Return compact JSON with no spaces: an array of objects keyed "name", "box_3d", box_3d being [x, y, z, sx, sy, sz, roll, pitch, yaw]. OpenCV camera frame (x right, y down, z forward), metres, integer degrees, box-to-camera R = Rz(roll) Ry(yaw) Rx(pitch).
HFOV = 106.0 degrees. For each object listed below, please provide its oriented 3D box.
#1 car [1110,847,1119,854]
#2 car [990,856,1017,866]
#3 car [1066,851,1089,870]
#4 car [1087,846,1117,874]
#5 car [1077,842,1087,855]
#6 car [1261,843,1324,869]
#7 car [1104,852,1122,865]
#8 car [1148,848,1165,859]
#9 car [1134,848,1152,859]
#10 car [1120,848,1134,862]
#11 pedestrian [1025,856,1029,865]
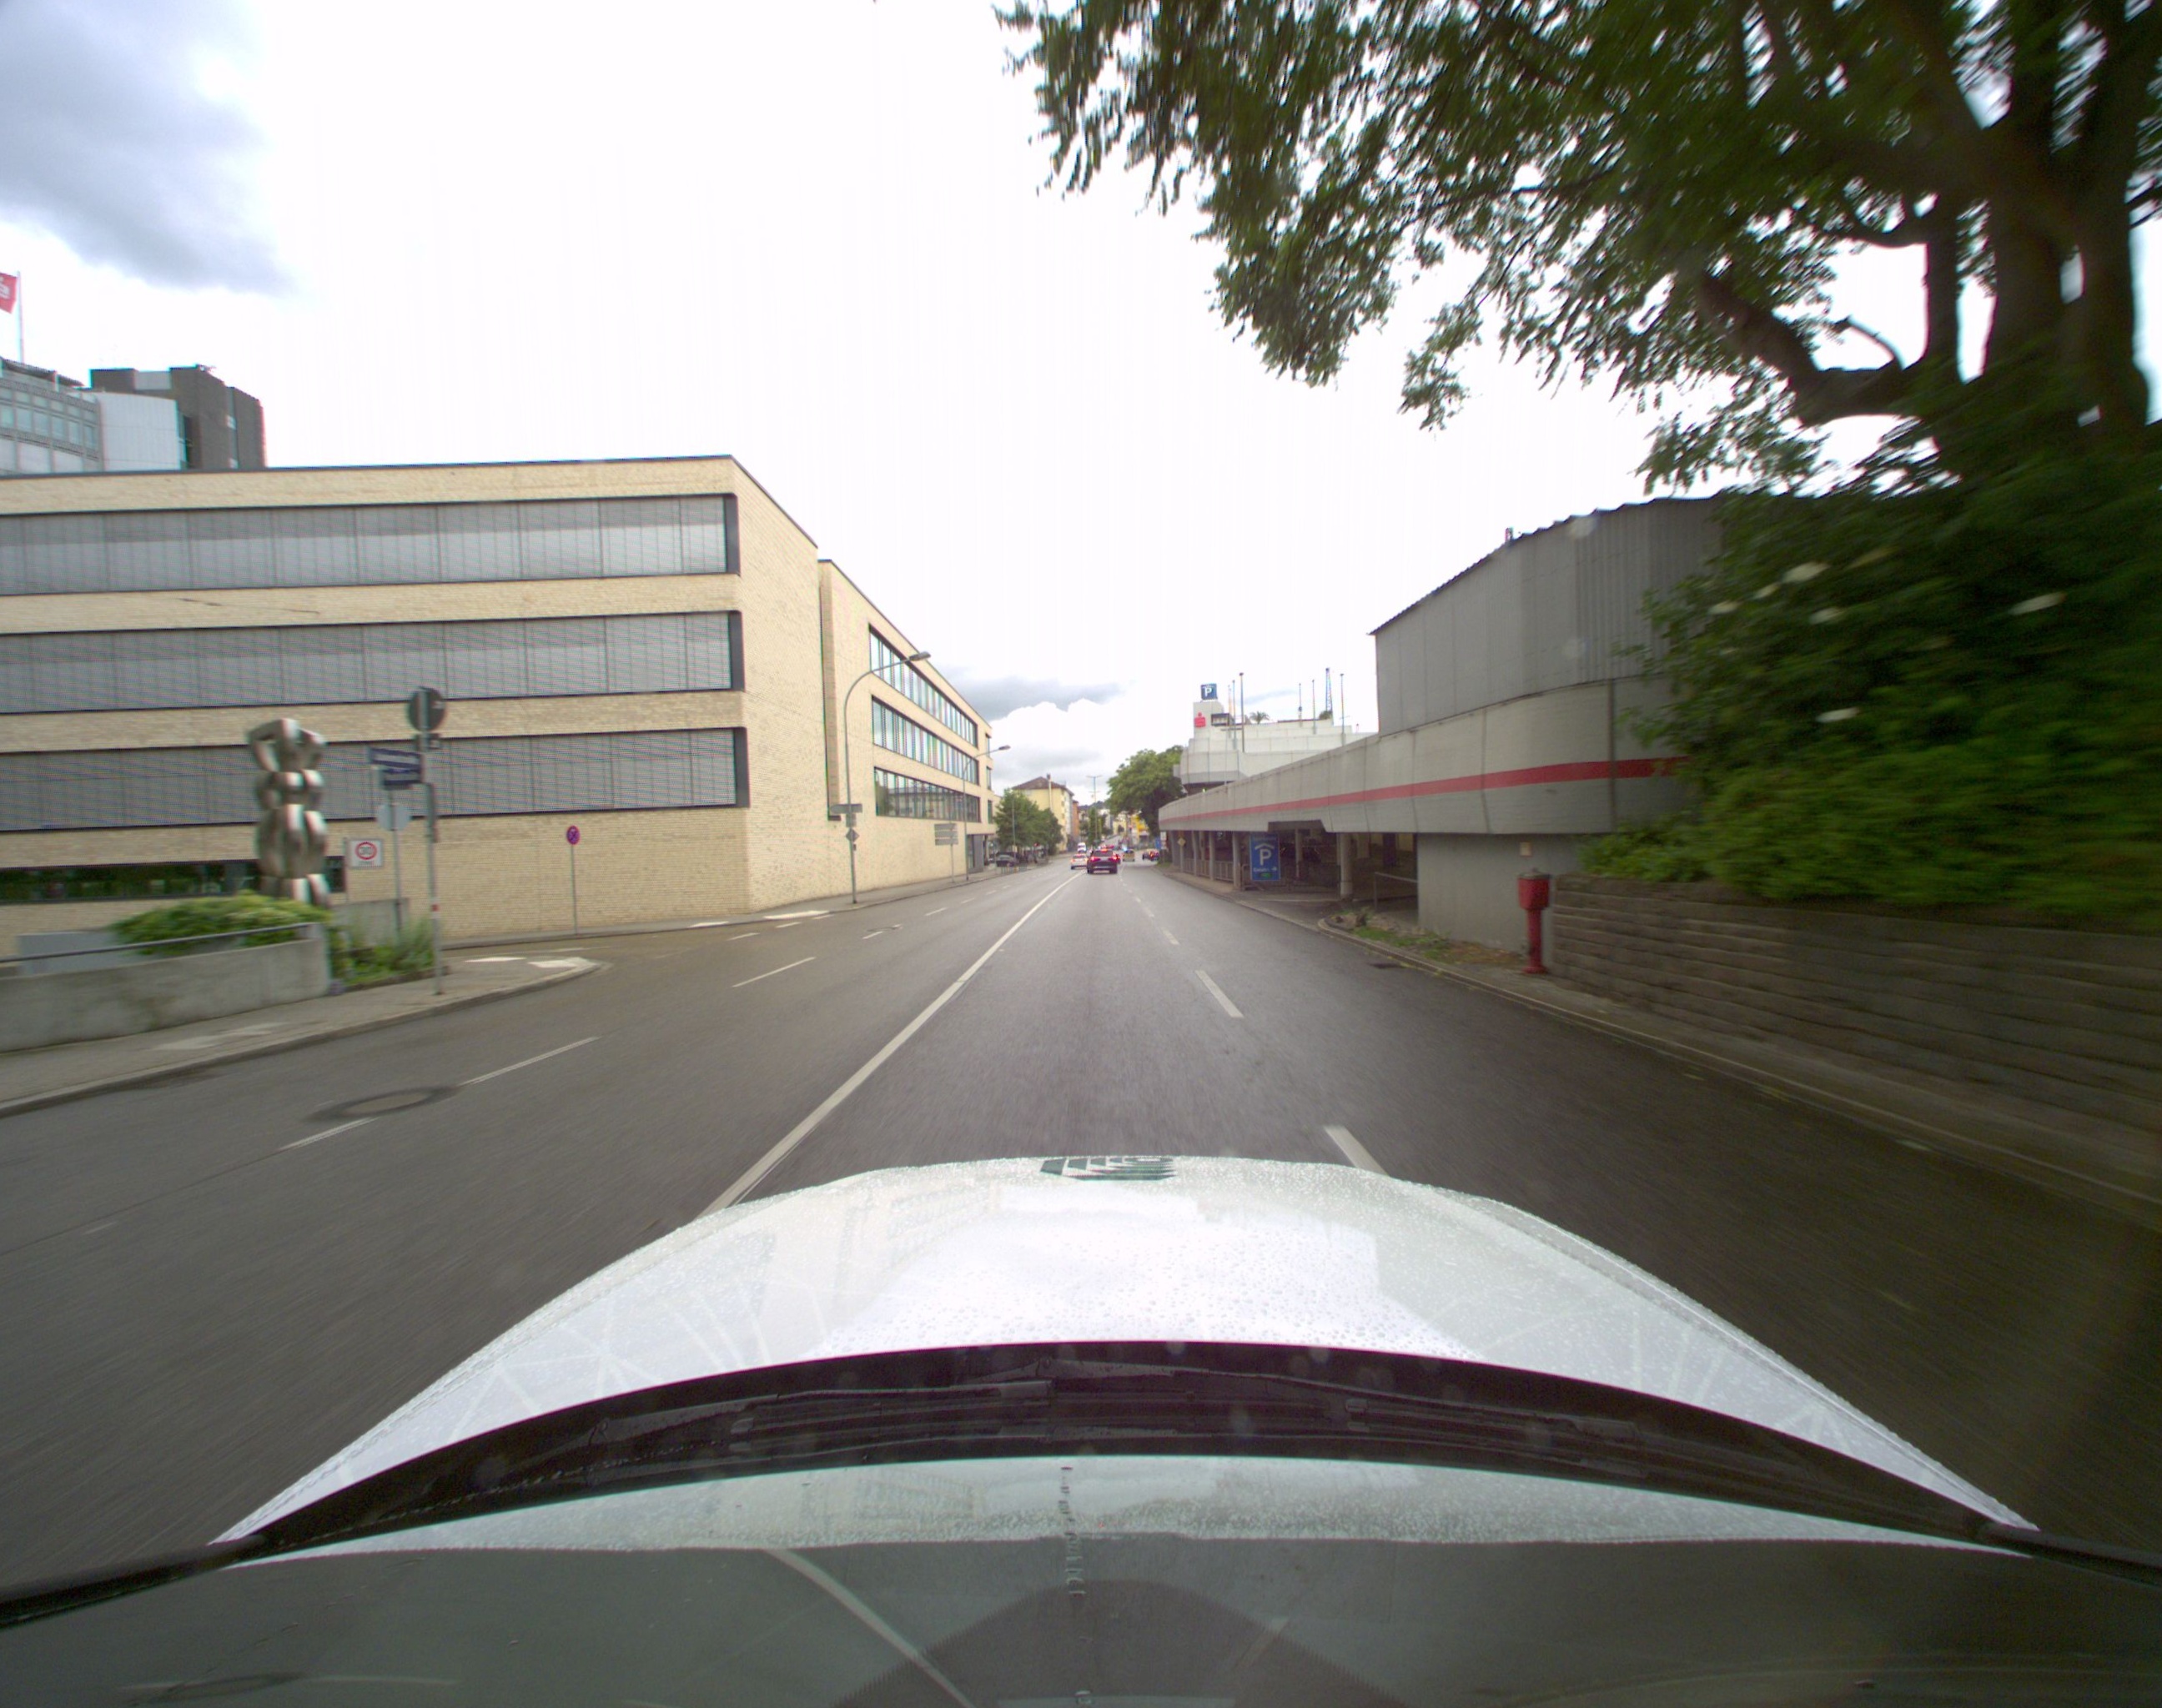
[{"name":"car","box_3d":[9.012,-1.023,220.013,1.988,1.679,3.998,-2,1,-1]},{"name":"car","box_3d":[-10.488,0.883,110.286,3.648,1.235,1.439,-2,0,-5]},{"name":"car","box_3d":[-0.359,0.632,81.037,1.989,1.680,3.995,-2,0,-3]},{"name":"car","box_3d":[1.612,0.406,60.023,2.083,1.910,4.102,-1,0,2]},{"name":"car","box_3d":[0.269,-1.450,204.891,2.178,3.098,4.926,-2,0,-2]},{"name":"car","box_3d":[13.099,0.129,50.691,3.694,1.475,1.692,-2,0,12]},{"name":"car","box_3d":[4.309,0.551,109.855,1.983,1.680,4.008,-2,0,7]},{"name":"car","box_3d":[12.151,-0.094,131.238,1.979,1.680,4.016,-2,0,15]},{"name":"car","box_3d":[10.552,-0.085,138.778,1.977,1.680,4.019,-2,0,19]},{"name":"car","box_3d":[7.321,0.134,129.898,2.164,2.004,4.003,-2,0,2]},{"name":"pedestrian","box_3d":[-7.344,0.862,110.574,0.450,1.278,0.456,-2,0,12]}]
